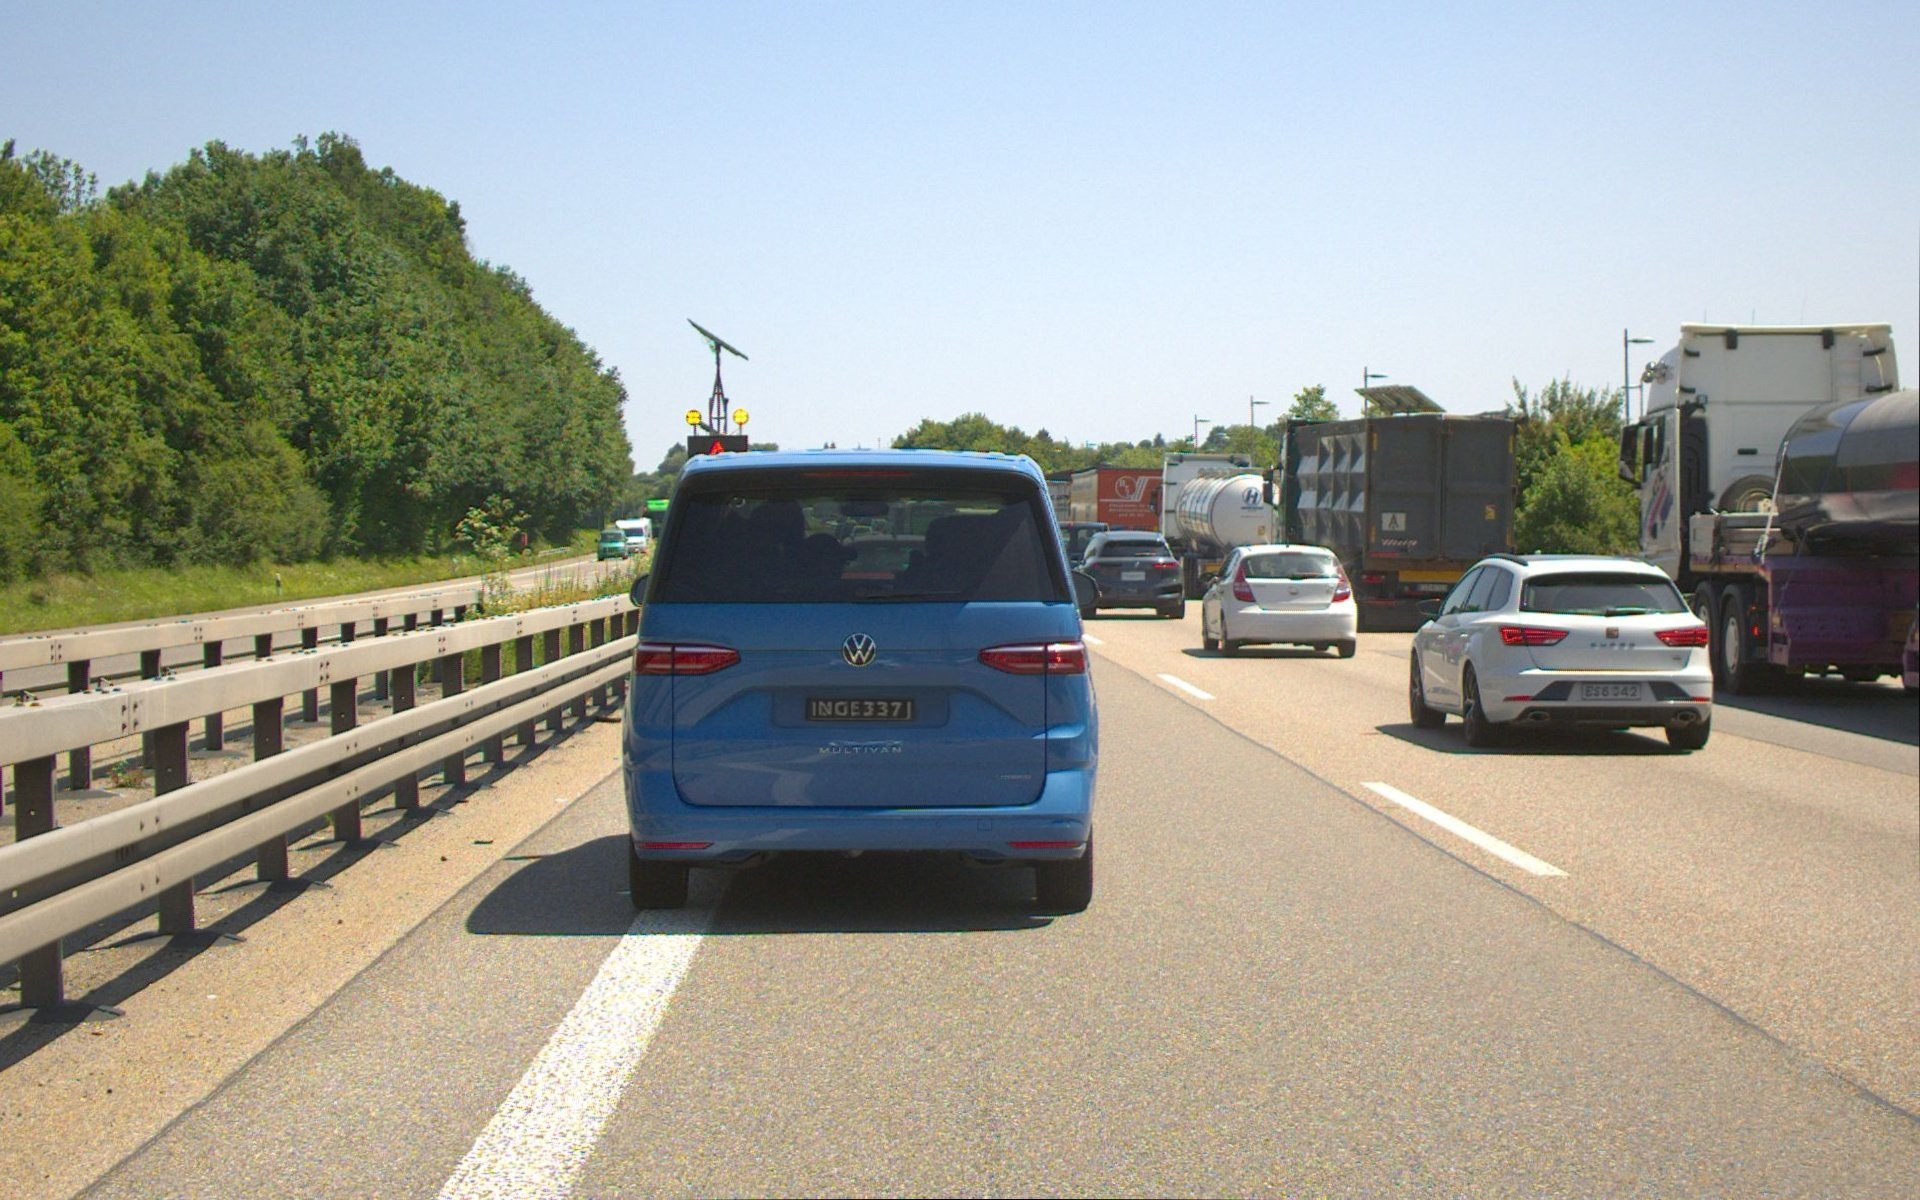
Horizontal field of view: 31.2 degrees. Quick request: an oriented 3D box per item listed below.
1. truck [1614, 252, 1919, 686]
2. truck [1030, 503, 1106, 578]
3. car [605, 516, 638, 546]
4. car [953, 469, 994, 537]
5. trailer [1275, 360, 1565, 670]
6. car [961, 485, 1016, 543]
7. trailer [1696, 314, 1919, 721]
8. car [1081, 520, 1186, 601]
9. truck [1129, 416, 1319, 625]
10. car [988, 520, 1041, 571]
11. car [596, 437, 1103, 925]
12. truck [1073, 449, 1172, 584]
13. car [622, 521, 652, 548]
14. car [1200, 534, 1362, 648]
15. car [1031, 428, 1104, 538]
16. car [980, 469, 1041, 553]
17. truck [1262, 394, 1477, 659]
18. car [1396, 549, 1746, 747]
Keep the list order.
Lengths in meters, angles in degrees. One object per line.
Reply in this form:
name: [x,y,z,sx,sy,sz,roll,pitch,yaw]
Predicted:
truck: [9.343,-1.250,36.246,3.626,4.080,7.524,1,0,2]
truck: [2.714,-1.494,87.378,1.725,1.851,4.000,1,0,-1]
car: [-22.116,-4.479,224.791,1.796,1.880,4.000,1,0,-1]
car: [0.979,-7.081,252.825,2.716,4.697,11.561,1,0,-1]
trailer: [8.262,-1.467,63.857,3.646,5.119,13.076,1,0,0]
car: [1.363,-4.163,167.782,2.550,2.708,5.621,1,0,-1]
trailer: [9.069,-0.605,26.725,3.646,3.068,15.771,1,0,1]
car: [3.359,-0.757,67.273,1.781,1.519,4.000,1,0,-1]
truck: [7.027,-2.057,94.258,3.621,5.195,15.690,1,0,-1]
car: [2.200,-2.216,139.580,1.993,2.007,4.000,1,0,-1]
car: [-0.396,0.294,15.066,1.901,1.831,4.000,1,0,1]
truck: [6.170,-3.111,131.812,3.068,4.903,10.691,1,0,-1]
car: [-22.811,-4.614,242.894,1.796,1.880,4.000,1,0,-1]
car: [4.288,-0.124,46.421,1.840,1.449,4.000,1,0,1]
car: [5.330,-5.782,171.809,3.218,5.239,8.144,1,0,0]
car: [3.221,-5.729,222.665,3.218,5.239,8.145,1,0,-4]
truck: [8.325,-1.468,70.633,3.658,5.162,5.709,1,0,0]
car: [4.559,0.309,26.227,1.867,1.356,4.000,1,1,-1]
